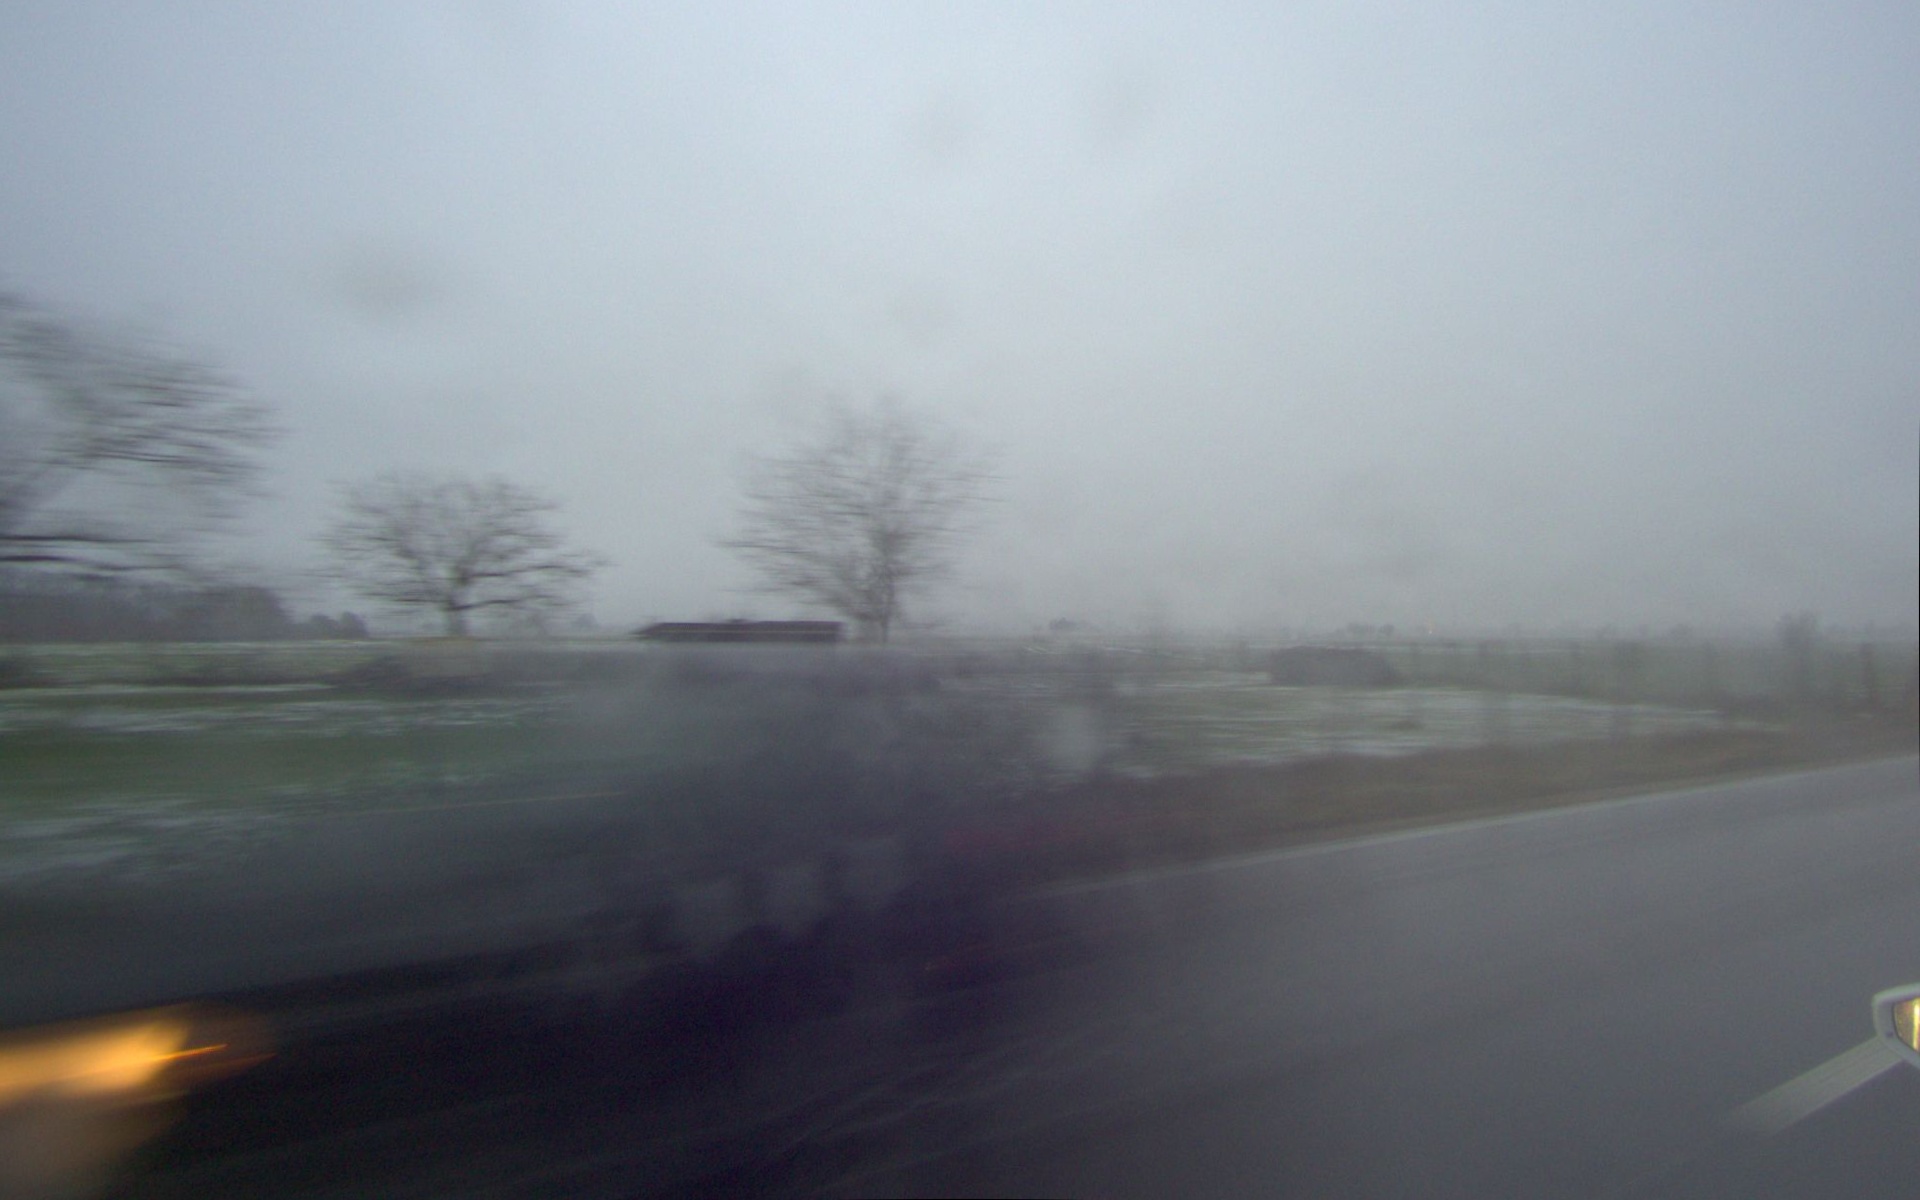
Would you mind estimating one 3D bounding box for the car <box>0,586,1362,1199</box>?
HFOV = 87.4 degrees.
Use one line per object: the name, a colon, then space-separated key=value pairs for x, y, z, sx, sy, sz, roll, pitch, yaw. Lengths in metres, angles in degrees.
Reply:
car: x=-0.736 y=0.780 z=3.020 sx=3.729 sy=1.499 sz=1.681 roll=1 pitch=-2 yaw=-30
